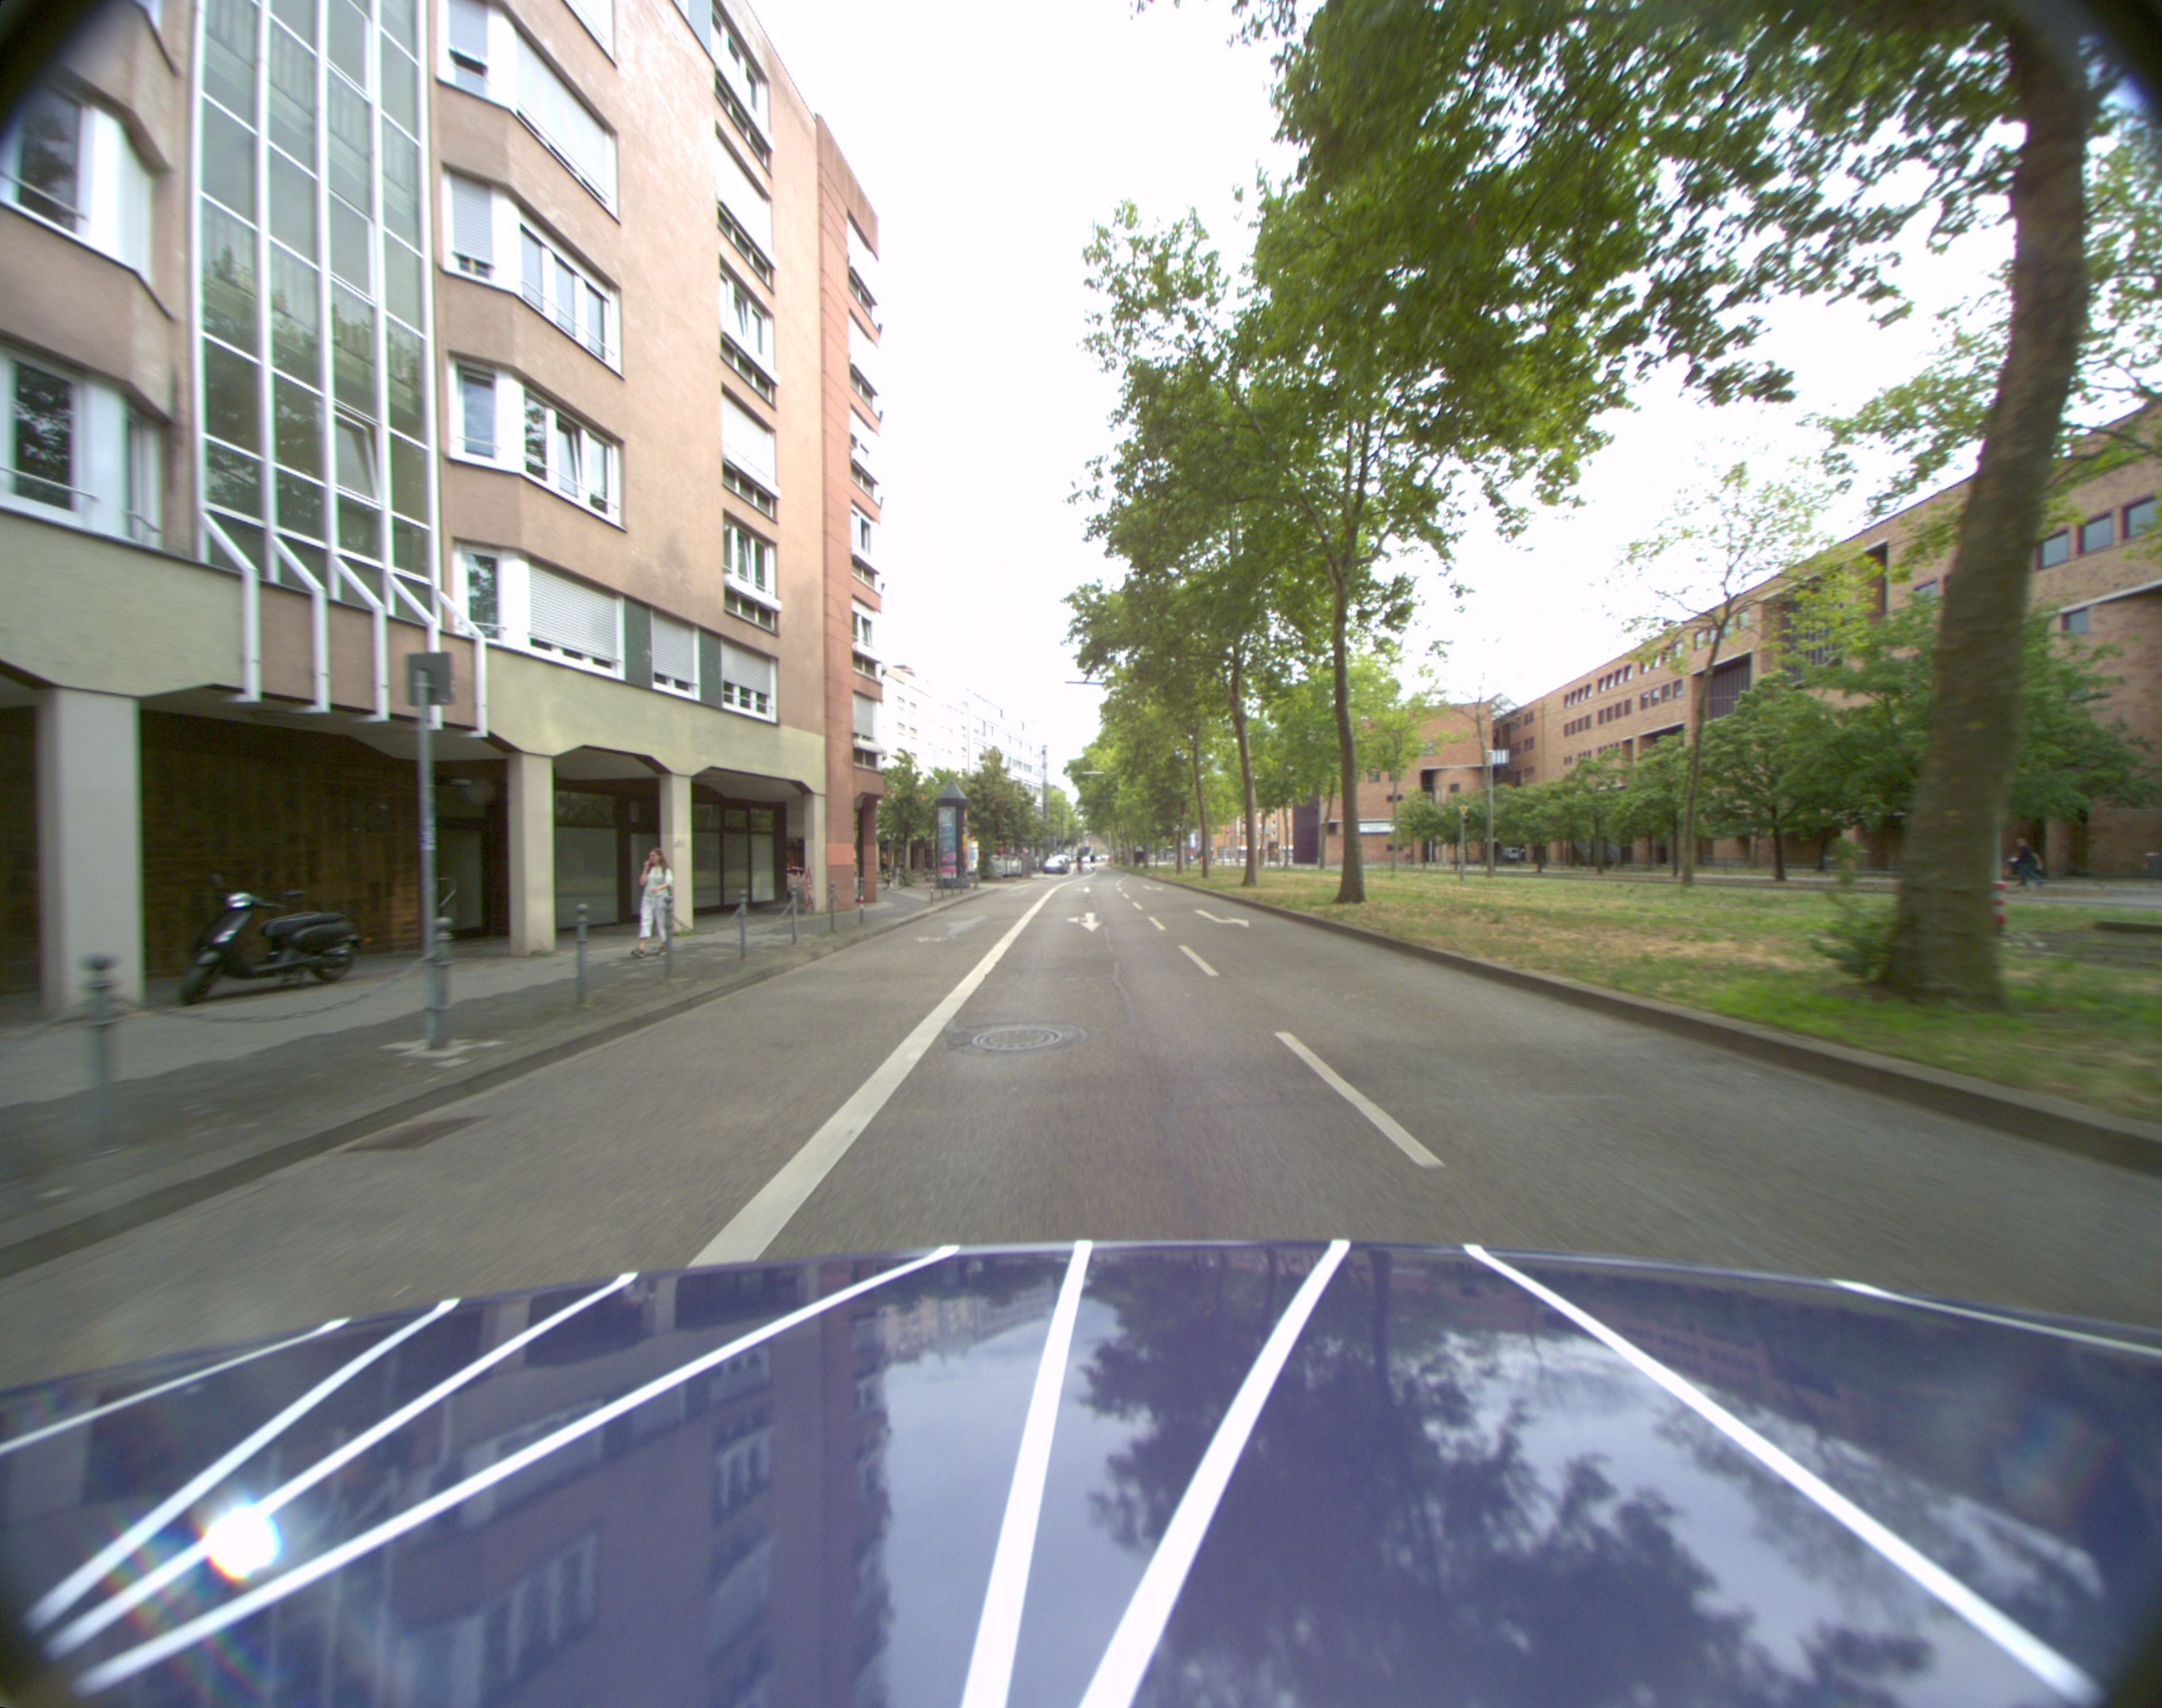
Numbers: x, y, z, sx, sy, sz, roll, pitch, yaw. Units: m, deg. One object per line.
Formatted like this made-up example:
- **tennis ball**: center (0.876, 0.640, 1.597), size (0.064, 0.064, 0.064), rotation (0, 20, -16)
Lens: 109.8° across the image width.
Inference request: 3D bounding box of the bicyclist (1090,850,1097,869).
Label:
- **bicyclist**: center (1.198, 0.504, 72.640), size (0.591, 1.760, 1.035), rotation (0, 0, 0)

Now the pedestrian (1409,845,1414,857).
- **pedestrian**: center (43.544, -0.357, 100.206), size (0.507, 1.523, 0.521), rotation (-1, 0, 15)

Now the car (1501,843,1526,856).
- **car**: center (59.723, -0.594, 104.992), size (1.896, 1.797, 4.004), rotation (-1, 0, 12)

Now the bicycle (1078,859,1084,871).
- **bicycle**: center (0.021, 1.019, 70.827), size (0.595, 1.132, 2.091), rotation (0, 0, 0)

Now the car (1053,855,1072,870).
- **car**: center (-1.839, 0.874, 78.588), size (1.744, 1.510, 4.401), rotation (1, 0, 1)

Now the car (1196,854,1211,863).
- **car**: center (20.891, 0.760, 129.919), size (1.788, 1.413, 4.657), rotation (0, 0, -1)

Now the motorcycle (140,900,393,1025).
- **motorcycle**: center (-9.126, 1.151, 8.646), size (0.617, 1.149, 1.906), rotation (1, 0, 12)

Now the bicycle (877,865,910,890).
- **bicycle**: center (-8.666, 1.067, 35.108), size (1.660, 1.122, 0.672), rotation (1, 1, 42)

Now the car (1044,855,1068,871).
- **car**: center (-2.349, 0.847, 72.297), size (1.821, 1.434, 4.666), rotation (1, 0, 3)

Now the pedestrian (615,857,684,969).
- **pedestrian**: center (-6.586, 0.880, 11.636), size (0.545, 1.640, 0.825), rotation (-1, 1, 1)

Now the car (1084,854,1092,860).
- **car**: center (1.908, 0.802, 199.001), size (1.845, 1.369, 3.835), rotation (0, -1, 5)

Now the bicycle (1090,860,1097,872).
- **bicycle**: center (1.198, 1.162, 72.712), size (0.595, 1.132, 1.858), rotation (0, 0, 0)

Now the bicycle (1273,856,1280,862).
- **bicycle**: center (33.399, 0.871, 129.812), size (0.669, 1.078, 2.094), rotation (-1, 0, 3)

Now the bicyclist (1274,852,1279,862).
- **bicyclist**: center (33.399, 0.492, 129.823), size (0.665, 1.581, 0.984), rotation (-1, 0, 3)

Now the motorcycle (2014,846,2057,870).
- **motorcycle**: center (48.499, 0.212, 38.610), size (2.199, 1.184, 0.795), rotation (-1, 0, -23)

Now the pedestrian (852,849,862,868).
- **pedestrian**: center (-19.879, 0.430, 67.387), size (0.606, 1.653, 0.682), rotation (-1, 1, 10)

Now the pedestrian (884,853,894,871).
- **pedestrian**: center (-18.017, 0.743, 71.267), size (0.534, 1.653, 0.852), rotation (-1, 0, 12)

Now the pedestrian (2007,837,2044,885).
- **pedestrian**: center (33.532, 0.243, 26.982), size (0.553, 1.695, 0.626), rotation (-1, 0, 5)

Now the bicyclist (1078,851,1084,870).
- **bicyclist**: center (0.022, 0.573, 70.843), size (0.591, 1.757, 1.035), rotation (0, 0, 0)
